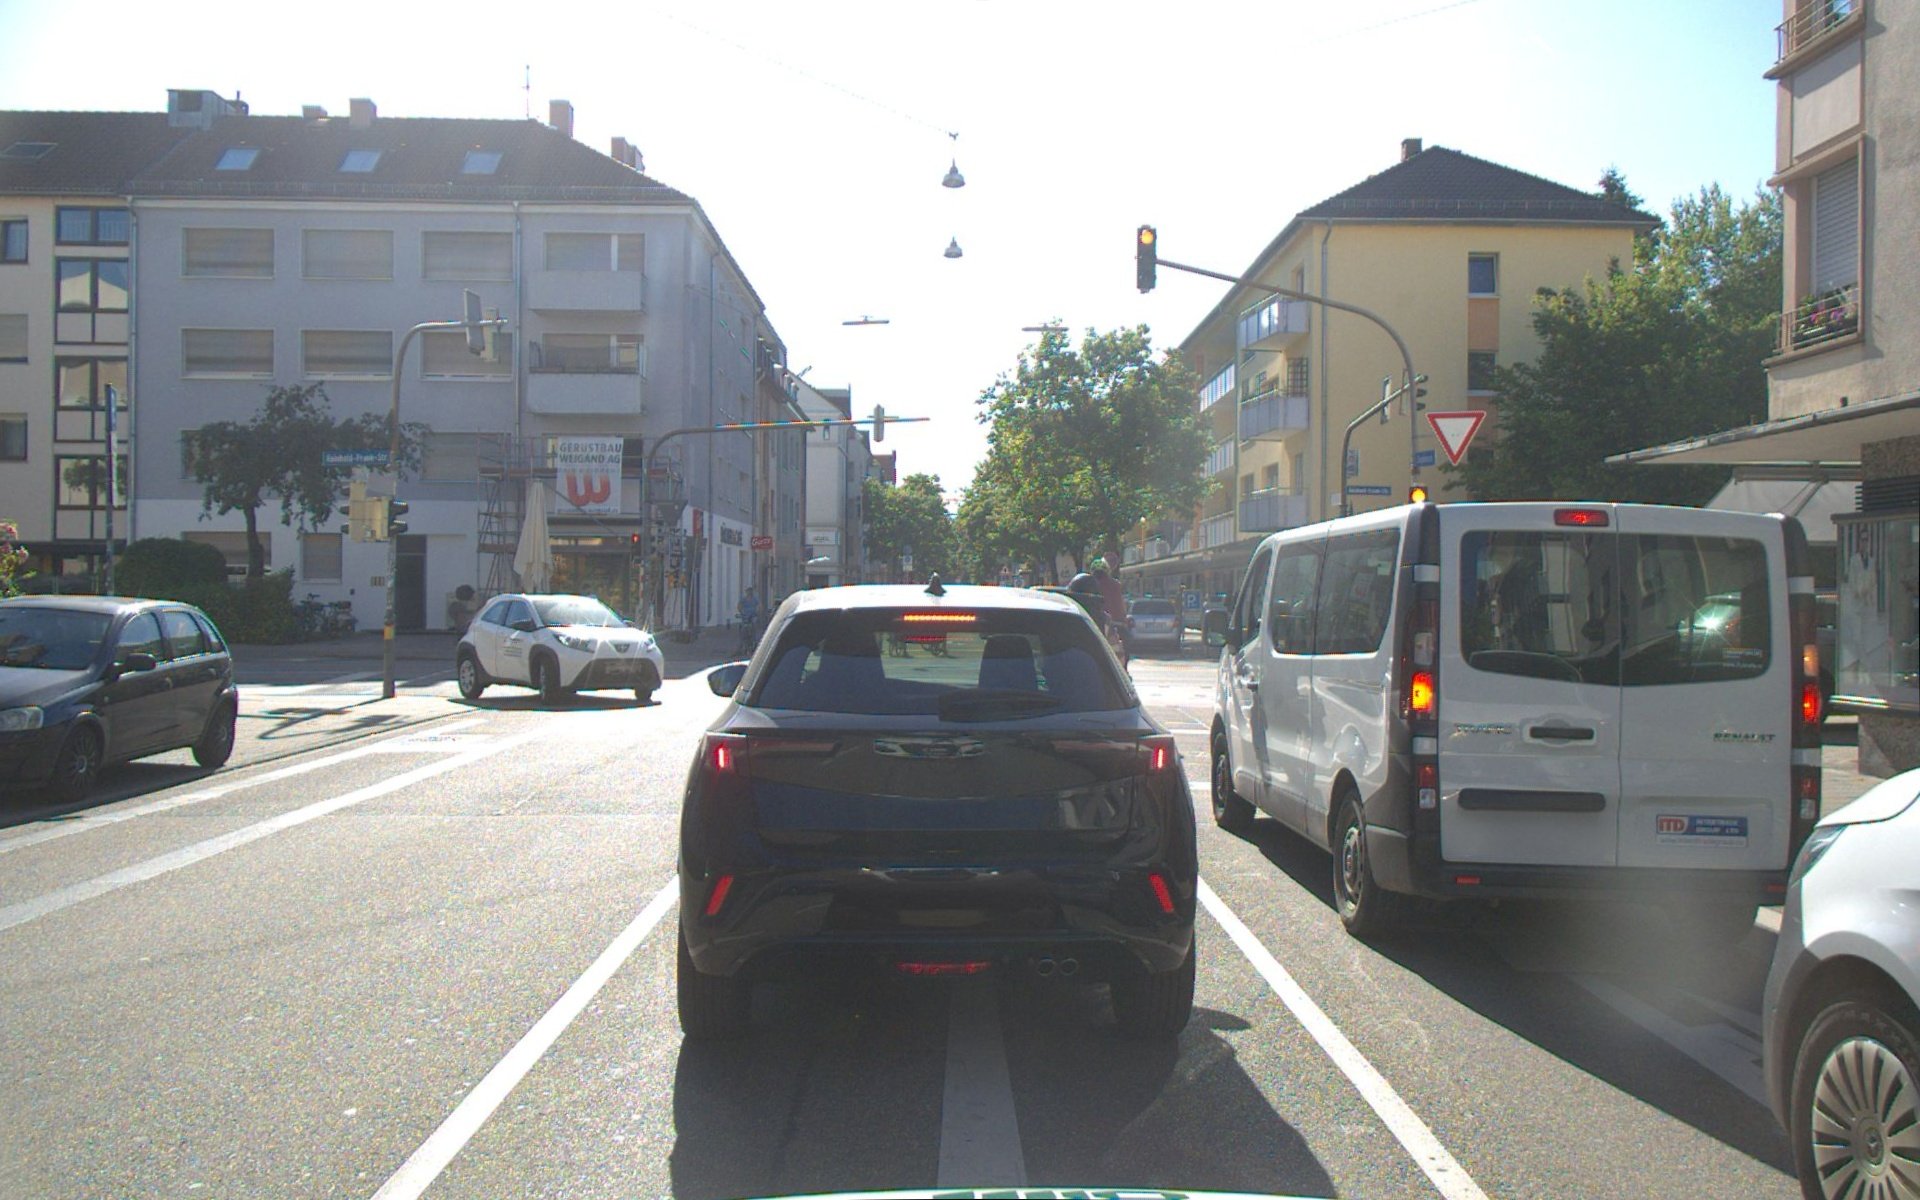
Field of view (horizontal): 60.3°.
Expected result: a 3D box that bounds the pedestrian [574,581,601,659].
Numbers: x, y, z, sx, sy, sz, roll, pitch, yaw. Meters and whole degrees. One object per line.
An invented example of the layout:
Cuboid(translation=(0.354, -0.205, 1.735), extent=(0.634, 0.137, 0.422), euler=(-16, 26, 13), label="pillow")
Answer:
Cuboid(translation=(-8.695, 0.459, 38.593), extent=(0.550, 1.806, 0.582), euler=(1, 0, -9), label="pedestrian")

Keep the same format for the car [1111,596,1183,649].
Cuboid(translation=(5.377, 0.609, 47.881), extent=(1.601, 1.458, 3.956), euler=(0, 0, -1), label="car")

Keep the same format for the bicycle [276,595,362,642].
Cuboid(translation=(-16.694, 0.465, 43.083), extent=(2.067, 1.193, 0.735), euler=(0, 0, -25), label="bicycle")

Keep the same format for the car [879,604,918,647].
Cuboid(translation=(-2.987, 1.218, 80.871), extent=(1.811, 2.049, 3.999), euler=(0, 0, -1), label="car")

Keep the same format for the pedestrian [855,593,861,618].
Cuboid(translation=(-6.947, 0.379, 112.799), extent=(0.394, 1.704, 0.417), euler=(0, 0, -1), label="pedestrian")

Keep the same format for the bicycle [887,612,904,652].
Cuboid(translation=(-1.726, 0.846, 44.367), extent=(0.434, 1.010, 2.068), euler=(0, 0, -2), label="bicycle")

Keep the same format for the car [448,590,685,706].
Cuboid(translation=(-5.804, 0.636, 24.177), extent=(1.757, 1.563, 3.725), euler=(0, 0, -43), label="car")

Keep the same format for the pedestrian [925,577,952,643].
Cuboid(translation=(-0.588, 0.267, 44.114), extent=(0.692, 1.731, 0.802), euler=(0, 0, -3), label="pedestrian")

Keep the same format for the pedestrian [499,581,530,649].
Cuboid(translation=(-10.229, 0.342, 37.981), extent=(0.573, 1.547, 0.649), euler=(0, 0, -4), label="pedestrian")

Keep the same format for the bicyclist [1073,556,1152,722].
Cuboid(translation=(1.653, 0.411, 18.122), extent=(0.675, 1.742, 1.413), euler=(0, 0, -3), label="bicyclist")

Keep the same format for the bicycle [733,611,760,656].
Cuboid(translation=(-5.728, 0.886, 44.443), extent=(0.511, 1.167, 2.282), euler=(0, 0, -2), label="bicycle")

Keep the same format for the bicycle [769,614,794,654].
Cuboid(translation=(-4.781, 0.894, 44.463), extent=(0.511, 1.010, 2.338), euler=(0, 0, -2), label="bicycle")

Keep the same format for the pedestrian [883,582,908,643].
Cuboid(translation=(-1.732, 0.331, 44.227), extent=(0.666, 1.634, 0.762), euler=(0, 0, -3), label="pedestrian")

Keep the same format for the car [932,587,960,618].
Cuboid(translation=(-0.949, 0.163, 111.092), extent=(1.817, 2.049, 3.880), euler=(0, 0, -1), label="car")

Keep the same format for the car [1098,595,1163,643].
Cuboid(translation=(5.400, 0.573, 52.643), extent=(1.601, 1.458, 3.999), euler=(0, 0, -1), label="car")

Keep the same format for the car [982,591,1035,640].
Cuboid(translation=(1.765, 0.553, 61.277), extent=(1.863, 1.758, 4.000), euler=(0, 0, 0), label="car")

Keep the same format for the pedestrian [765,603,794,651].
Cuboid(translation=(-4.820, 0.714, 44.206), extent=(0.692, 1.275, 0.802), euler=(0, 0, -3), label="pedestrian")

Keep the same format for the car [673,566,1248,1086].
Cuboid(translation=(-0.072, 0.672, 6.995), extent=(1.735, 1.557, 3.998), euler=(0, 0, -2), label="car")

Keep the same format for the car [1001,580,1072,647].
Cuboid(translation=(2.059, 0.341, 45.609), extent=(1.862, 1.758, 4.074), euler=(0, 0, 1), label="car")

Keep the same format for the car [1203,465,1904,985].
Cuboid(translation=(2.755, 0.498, 9.101), extent=(1.953, 2.013, 4.894), euler=(2, 0, -1), label="car")

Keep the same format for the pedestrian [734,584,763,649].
Cuboid(translation=(-5.642, 0.429, 44.198), extent=(0.692, 1.707, 0.802), euler=(0, 0, -3), label="pedestrian")

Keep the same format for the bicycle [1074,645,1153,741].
Cuboid(translation=(1.665, 0.991, 18.222), extent=(0.565, 0.920, 2.300), euler=(0, 0, -2), label="bicycle")

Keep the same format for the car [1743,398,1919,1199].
Cuboid(translation=(2.997, 0.530, 1.805), extent=(1.799, 1.901, 4.994), euler=(0, 0, -2), label="car")

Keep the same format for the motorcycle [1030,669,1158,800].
Cuboid(translation=(1.005, 1.011, 12.880), extent=(0.808, 0.860, 1.884), euler=(0, 0, -1), label="motorcycle")

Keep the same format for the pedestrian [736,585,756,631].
Cuboid(translation=(-7.250, 0.284, 56.058), extent=(0.605, 1.547, 0.724), euler=(0, 0, -4), label="pedestrian")

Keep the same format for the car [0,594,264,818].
Cuboid(translation=(-7.047, 0.708, 13.007), extent=(1.584, 1.450, 3.709), euler=(2, 0, -1), label="car")

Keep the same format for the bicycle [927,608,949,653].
Cuboid(translation=(-0.602, 0.808, 44.347), extent=(0.511, 1.167, 2.169), euler=(0, 0, -2), label="bicycle")

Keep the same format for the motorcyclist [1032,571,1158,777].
Cuboid(translation=(1.027, 0.551, 12.863), extent=(0.846, 1.528, 1.159), euler=(0, 0, -2), label="motorcyclist")
